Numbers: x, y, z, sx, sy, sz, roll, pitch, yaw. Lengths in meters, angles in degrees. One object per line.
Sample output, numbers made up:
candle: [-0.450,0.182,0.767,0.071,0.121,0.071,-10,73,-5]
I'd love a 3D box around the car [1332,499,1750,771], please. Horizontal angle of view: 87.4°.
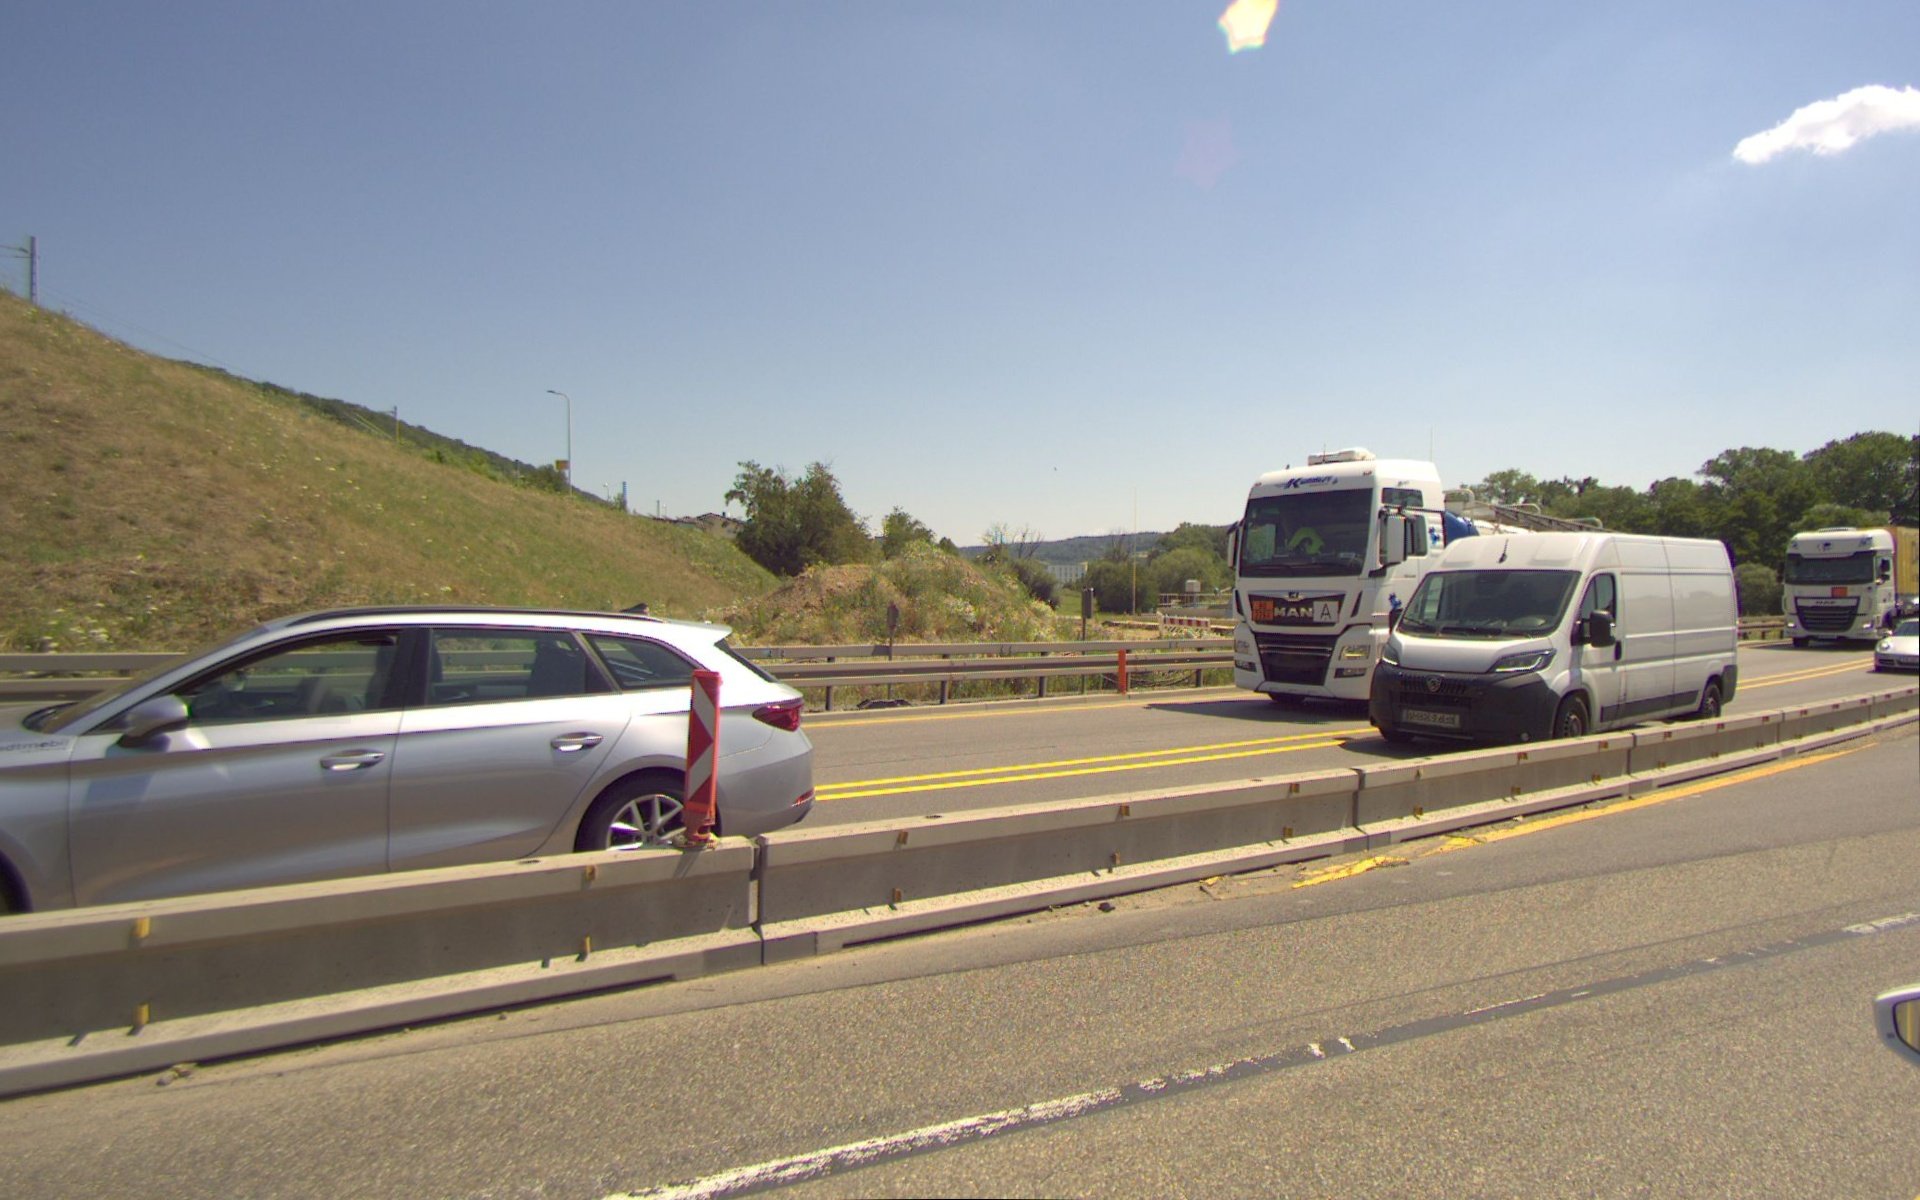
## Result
car: [7.280,0.419,12.177,6.425,2.536,2.055,2,0,-38]

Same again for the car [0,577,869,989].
car: [-2.873,0.674,5.056,4.473,1.483,1.835,1,0,-32]

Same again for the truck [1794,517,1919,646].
truck: [37.515,-0.631,39.519,15.208,4.401,2.790,0,1,-33]

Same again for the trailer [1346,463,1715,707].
trailer: [11.683,-0.169,19.916,10.151,3.840,2.507,1,1,-38]

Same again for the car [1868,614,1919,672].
car: [24.256,1.038,25.049,4.296,1.282,1.664,0,1,-38]

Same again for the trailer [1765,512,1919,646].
trailer: [30.698,-0.659,34.915,5.165,4.286,2.848,0,0,-34]

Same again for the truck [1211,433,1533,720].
truck: [6.660,-0.299,16.063,4.904,3.873,2.515,1,1,-37]
